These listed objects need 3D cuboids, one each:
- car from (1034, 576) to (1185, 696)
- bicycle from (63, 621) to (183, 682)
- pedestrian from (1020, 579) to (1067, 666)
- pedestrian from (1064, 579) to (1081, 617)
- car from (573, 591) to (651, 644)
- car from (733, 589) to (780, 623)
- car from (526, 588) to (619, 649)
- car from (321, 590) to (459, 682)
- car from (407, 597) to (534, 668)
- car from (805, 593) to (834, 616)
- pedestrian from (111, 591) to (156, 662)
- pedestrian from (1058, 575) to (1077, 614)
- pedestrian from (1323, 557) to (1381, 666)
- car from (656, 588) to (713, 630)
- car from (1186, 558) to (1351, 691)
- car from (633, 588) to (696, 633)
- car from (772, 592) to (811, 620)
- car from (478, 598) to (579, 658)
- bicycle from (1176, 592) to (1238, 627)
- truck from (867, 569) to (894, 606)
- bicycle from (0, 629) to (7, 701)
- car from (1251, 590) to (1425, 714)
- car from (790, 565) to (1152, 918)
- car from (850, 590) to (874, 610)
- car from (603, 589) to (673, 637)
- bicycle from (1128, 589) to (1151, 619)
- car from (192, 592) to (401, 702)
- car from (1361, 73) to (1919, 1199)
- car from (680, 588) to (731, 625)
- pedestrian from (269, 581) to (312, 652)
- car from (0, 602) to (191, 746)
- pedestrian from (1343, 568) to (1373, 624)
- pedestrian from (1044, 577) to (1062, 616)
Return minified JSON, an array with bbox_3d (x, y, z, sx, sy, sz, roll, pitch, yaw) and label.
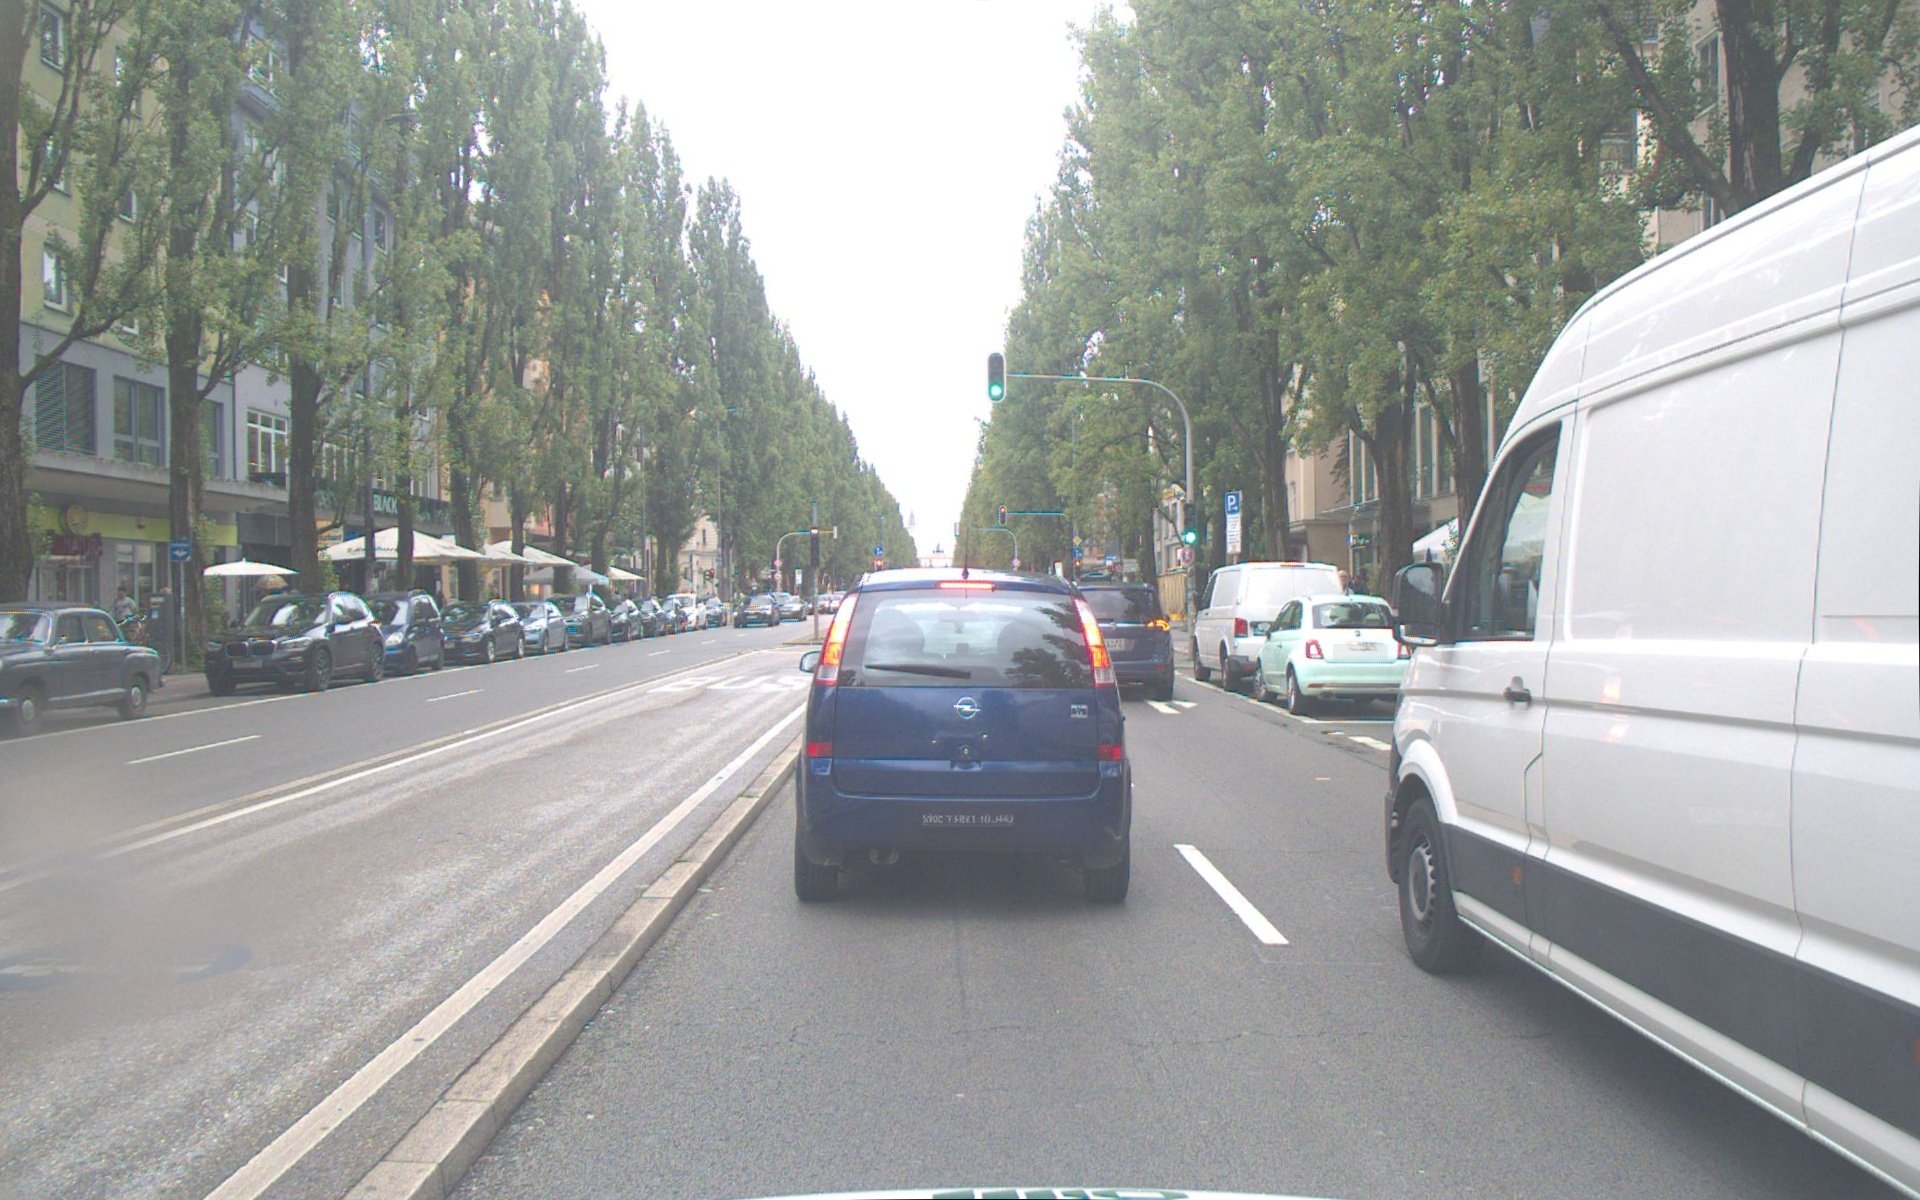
[{"bbox_3d":[2.147,0.485,24.740,1.858,1.650,4.000,0,0,-1],"label":"car"},{"bbox_3d":[-16.190,0.988,32.013,1.909,1.114,0.718,1,0,-7],"label":"bicycle"},{"bbox_3d":[1.656,0.440,32.815,0.843,1.714,0.626,-1,0,-4],"label":"pedestrian"},{"bbox_3d":[5.684,-0.103,83.324,0.625,1.859,0.885,1,0,-11],"label":"pedestrian"},{"bbox_3d":[-12.030,0.564,57.375,1.828,1.694,4.119,-2,0,-1],"label":"car"},{"bbox_3d":[-9.581,0.267,78.133,1.663,1.488,4.712,-2,0,-1],"label":"car"},{"bbox_3d":[-11.843,0.534,50.846,1.828,1.694,4.400,-2,0,-1],"label":"car"},{"bbox_3d":[-11.849,0.699,34.646,1.676,1.751,3.919,-2,0,-4],"label":"car"},{"bbox_3d":[-11.756,0.741,40.016,1.762,1.514,4.349,-2,0,-1],"label":"car"},{"bbox_3d":[-10.436,0.316,123.236,1.828,1.695,4.119,-1,0,-1],"label":"car"},{"bbox_3d":[-20.269,0.647,40.560,0.740,1.715,0.675,-2,-1,0],"label":"pedestrian"},{"bbox_3d":[5.115,-0.252,78.762,0.707,1.859,0.885,1,0,-11],"label":"pedestrian"},{"bbox_3d":[6.622,0.195,27.993,0.810,1.804,0.871,-1,0,5],"label":"pedestrian"},{"bbox_3d":[-12.154,0.368,73.213,1.828,1.694,4.119,-2,0,-1],"label":"car"},{"bbox_3d":[4.945,0.341,27.123,1.751,1.980,4.730,0,0,-1],"label":"car"},{"bbox_3d":[-12.092,0.402,67.952,1.828,1.694,4.119,-2,0,-1],"label":"car"},{"bbox_3d":[-9.361,0.312,92.065,1.710,1.459,4.129,-2,0,-1],"label":"car"},{"bbox_3d":[-11.804,0.735,45.480,1.698,1.450,4.143,-2,0,-1],"label":"car"},{"bbox_3d":[9.165,0.349,61.455,2.182,1.225,0.626,-1,0,-3],"label":"bicycle"},{"bbox_3d":[-7.519,-1.190,156.893,2.334,3.405,7.109,-1,0,-1],"label":"truck"},{"bbox_3d":[-15.955,1.002,25.717,1.830,1.114,0.719,2,0,2],"label":"bicycle"},{"bbox_3d":[4.940,0.627,22.017,1.509,1.518,3.523,0,0,0],"label":"car"},{"bbox_3d":[0.031,0.624,9.486,1.637,1.596,4.000,0,0,-1],"label":"car"},{"bbox_3d":[-7.525,-0.011,127.521,1.699,1.491,3.365,-1,0,-1],"label":"car"},{"bbox_3d":[-12.113,0.460,62.425,1.828,1.694,4.119,-2,0,-1],"label":"car"},{"bbox_3d":[8.451,0.186,77.787,0.757,1.372,2.449,-1,0,-1],"label":"bicycle"},{"bbox_3d":[-11.587,0.751,29.251,1.828,1.693,4.610,-2,0,-1],"label":"car"},{"bbox_3d":[2.882,0.228,4.252,2.021,2.536,6.729,0,0,-1],"label":"car"},{"bbox_3d":[-12.341,0.291,80.485,1.828,1.694,4.119,-2,0,-1],"label":"car"},{"bbox_3d":[-16.463,0.396,40.695,0.740,1.715,0.675,-2,-1,0],"label":"pedestrian"},{"bbox_3d":[-11.678,0.877,20.927,1.828,1.579,4.413,-2,0,-1],"label":"car"},{"bbox_3d":[12.480,-0.117,51.904,0.660,1.715,0.758,-1,-1,-5],"label":"pedestrian"},{"bbox_3d":[4.423,-0.176,78.879,0.625,1.859,0.885,1,0,-11],"label":"pedestrian"}]
